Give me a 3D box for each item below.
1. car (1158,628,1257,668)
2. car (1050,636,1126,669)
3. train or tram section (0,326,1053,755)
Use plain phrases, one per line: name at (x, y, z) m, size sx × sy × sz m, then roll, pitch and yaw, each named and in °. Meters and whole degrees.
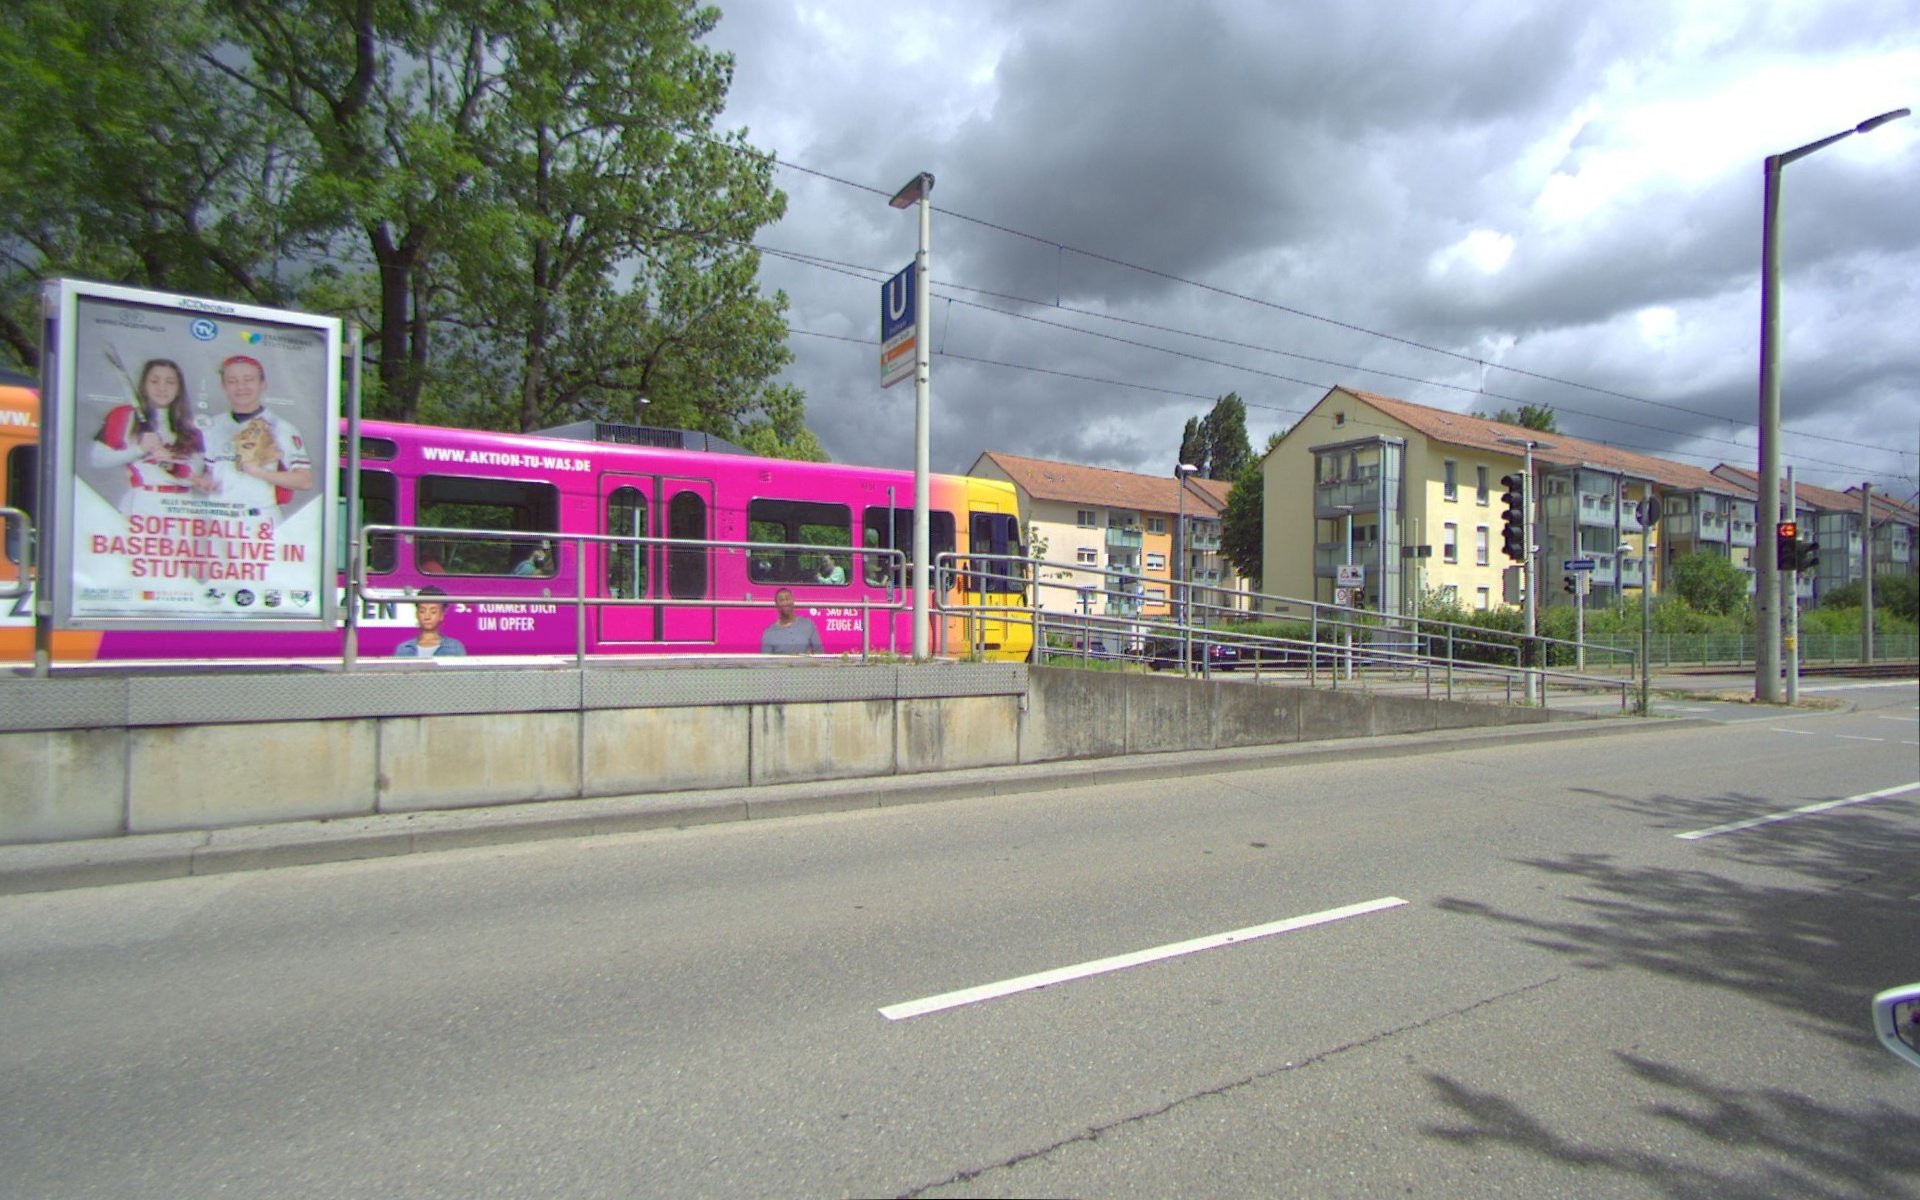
car at (10.081, 2.018, 41.167) m, size 1.971 × 1.485 × 3.981 m, roll 1°, pitch -5°, yaw -22°
car at (6.113, 2.577, 48.515) m, size 1.971 × 1.485 × 3.981 m, roll 1°, pitch -5°, yaw -22°
train or tram section at (-7.182, -0.510, 11.877) m, size 18.326 × 3.914 × 2.965 m, roll 1°, pitch 0°, yaw -31°
